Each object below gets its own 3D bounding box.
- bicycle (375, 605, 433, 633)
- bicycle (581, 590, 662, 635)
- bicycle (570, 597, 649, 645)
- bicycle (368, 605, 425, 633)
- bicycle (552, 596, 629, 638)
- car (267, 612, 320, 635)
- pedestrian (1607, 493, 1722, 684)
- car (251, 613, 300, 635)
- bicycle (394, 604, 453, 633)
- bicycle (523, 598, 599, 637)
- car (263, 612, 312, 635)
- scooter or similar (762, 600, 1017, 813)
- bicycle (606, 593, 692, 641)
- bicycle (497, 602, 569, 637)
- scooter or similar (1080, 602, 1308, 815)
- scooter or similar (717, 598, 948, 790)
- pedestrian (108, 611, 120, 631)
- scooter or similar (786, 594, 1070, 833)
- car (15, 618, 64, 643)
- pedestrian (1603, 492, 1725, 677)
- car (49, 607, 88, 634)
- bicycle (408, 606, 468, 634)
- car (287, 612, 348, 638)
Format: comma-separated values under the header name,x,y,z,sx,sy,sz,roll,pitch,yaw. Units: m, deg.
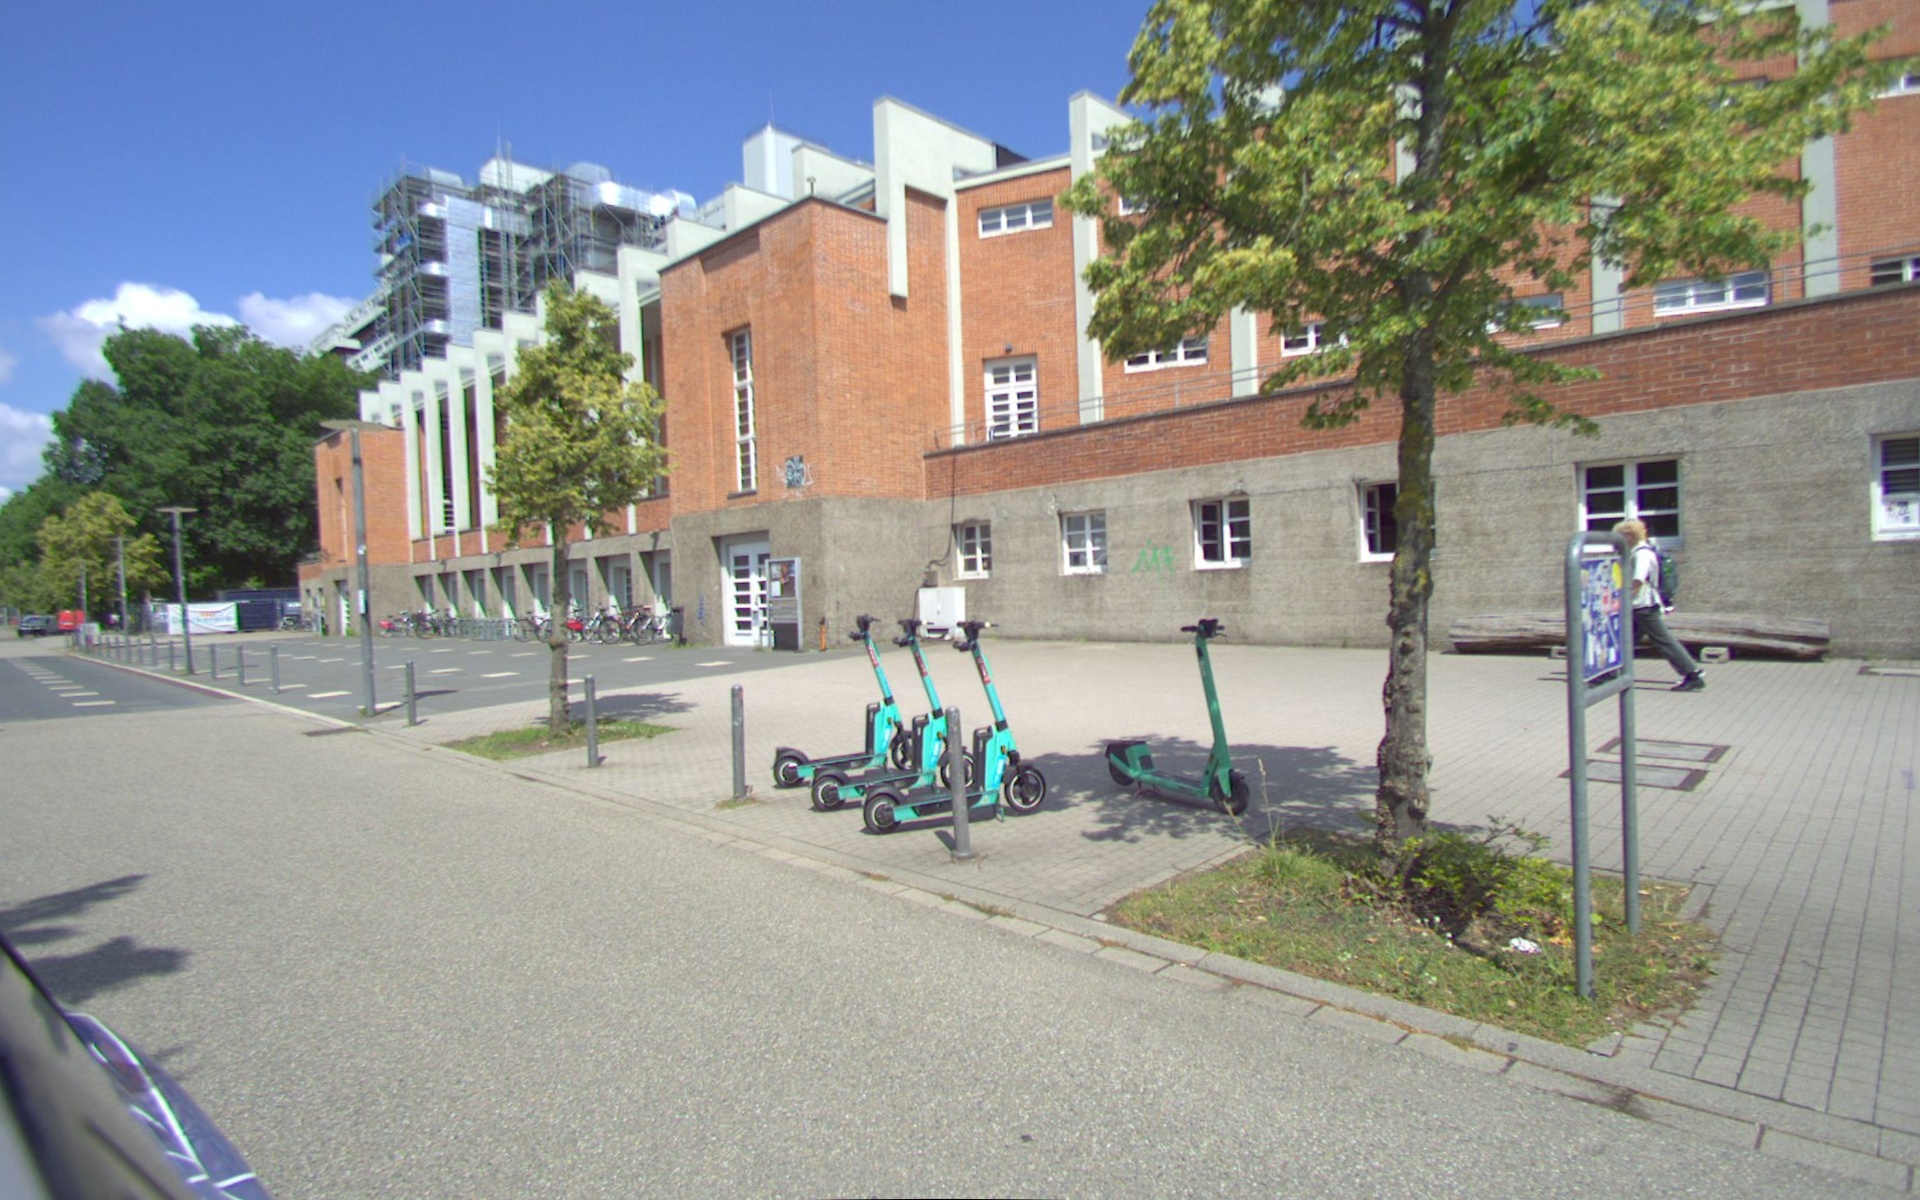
name,x,y,z,sx,sy,sz,roll,pitch,yaw
bicycle,-22.496,0.759,40.967,0.519,1.037,1.929,-2,1,43
bicycle,-9.199,0.326,27.542,1.998,1.134,0.593,-3,1,-45
bicycle,-9.688,0.568,28.049,1.997,1.134,0.439,-5,3,-42
bicycle,-23.184,0.769,41.649,0.542,1.037,1.929,-2,1,43
bicycle,-10.681,0.485,29.282,0.622,1.090,1.988,-2,1,43
car,-37.580,1.312,57.088,2.335,1.189,0.795,-3,1,-44
pedestrian,6.857,-0.112,9.852,0.806,1.775,0.557,-1,2,44
car,-40.760,1.421,60.271,2.292,1.189,0.479,-3,1,-44
bicycle,-20.808,0.708,39.296,0.530,1.037,1.929,-2,1,43
bicycle,-12.022,0.514,30.542,0.663,1.069,1.999,-2,1,43
car,-38.948,1.360,58.613,2.257,1.189,0.524,-3,1,-44
scooter or similar,-0.471,0.654,6.722,1.548,1.234,0.567,-3,1,-18
bicycle,-7.982,0.420,26.060,0.667,1.134,1.999,-2,1,43
bicycle,-13.355,0.610,31.685,0.685,0.967,1.929,-2,1,43
scooter or similar,1.425,0.607,6.355,0.555,1.157,1.353,-3,1,-33
scooter or similar,-0.936,0.638,7.402,1.548,1.234,0.572,-3,1,-18
pedestrian,-66.672,1.683,79.751,0.633,1.550,0.454,-3,1,-34
scooter or similar,-0.189,0.617,6.003,1.548,1.234,0.526,-3,1,-18
car,-85.432,2.842,93.973,1.992,2.107,4.447,-3,1,-24
pedestrian,7.191,-0.158,10.348,0.918,1.793,0.569,-1,1,44
car,-66.490,1.521,75.550,1.884,1.896,4.008,-3,1,-38
bicycle,-19.757,0.757,38.319,0.569,0.947,1.929,-2,1,43
car,-32.533,1.245,51.282,2.492,1.189,0.633,-3,1,-44
